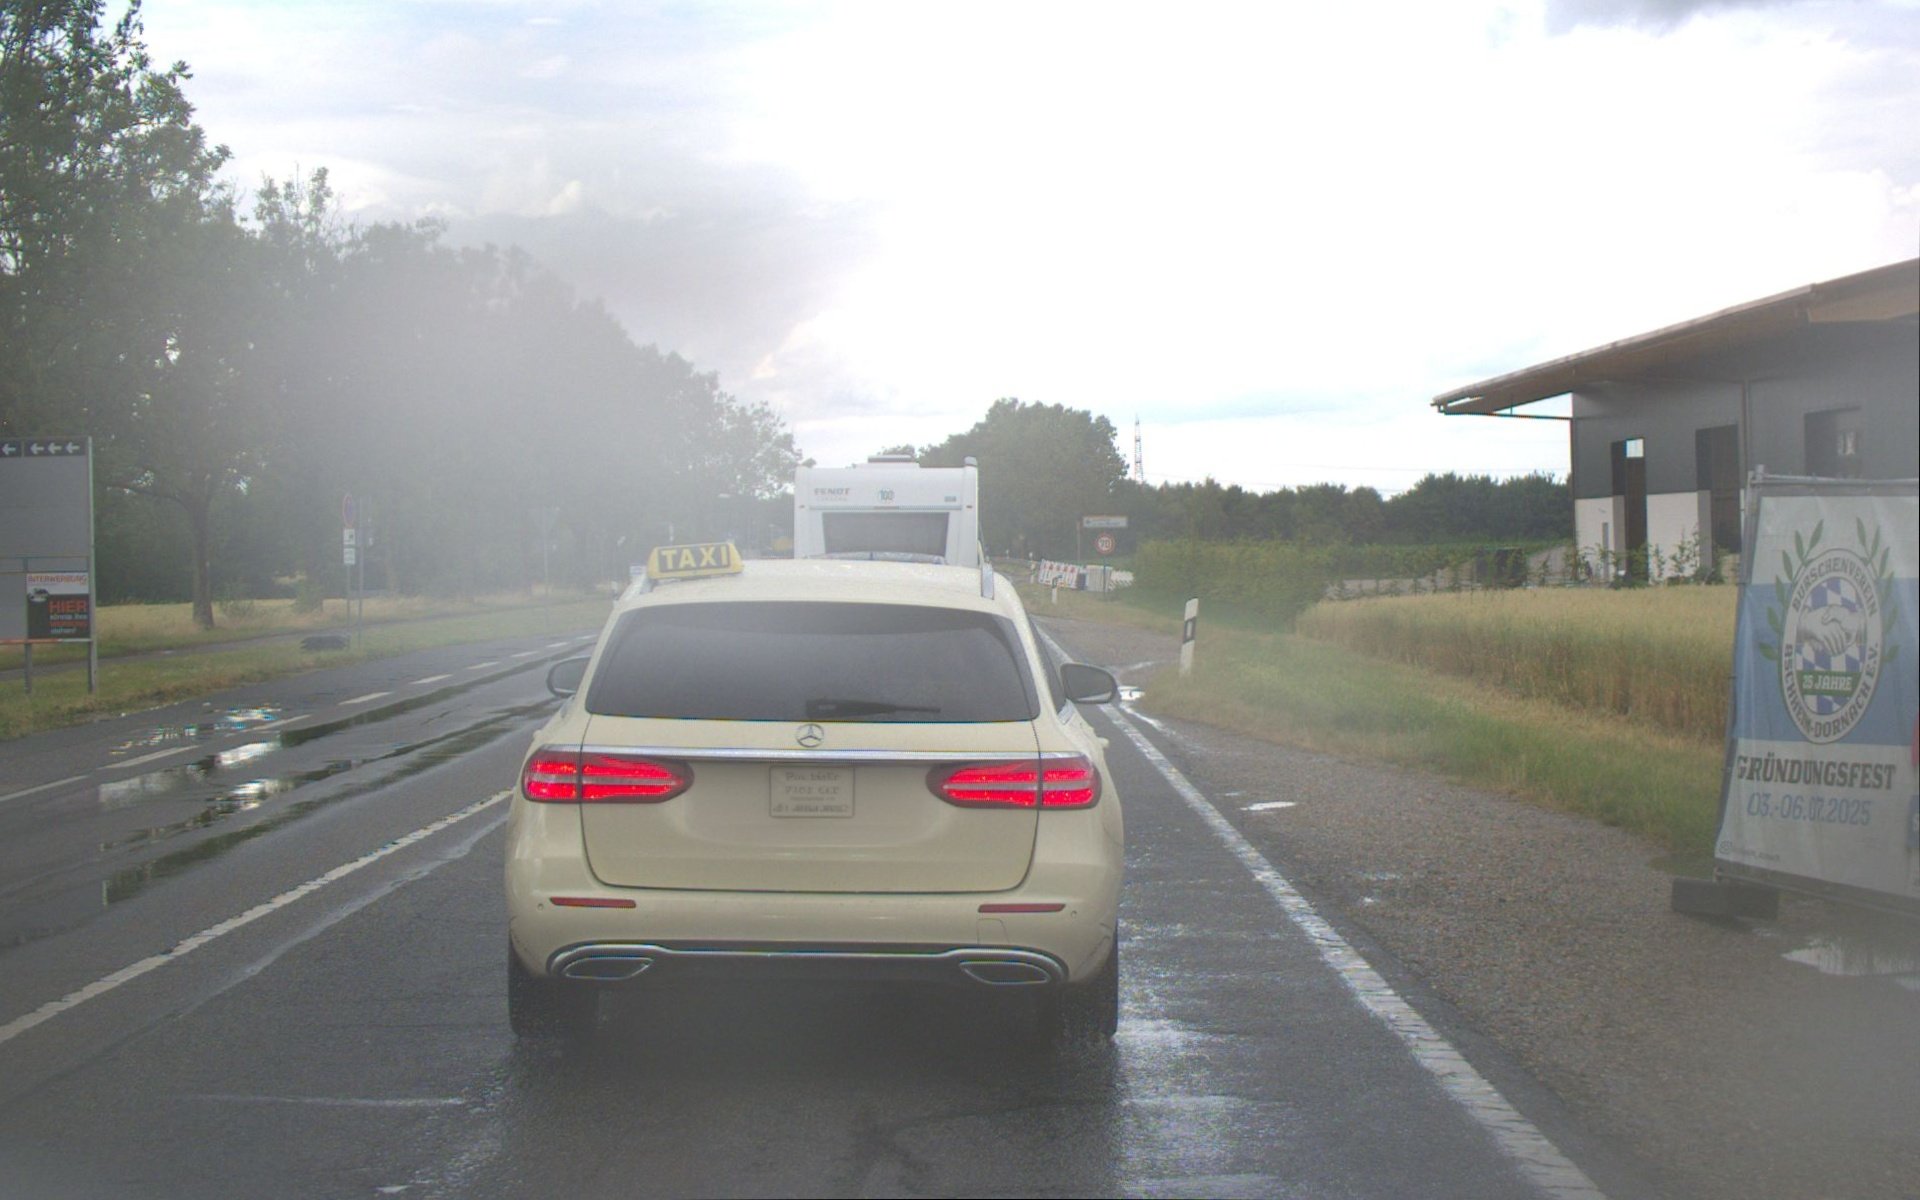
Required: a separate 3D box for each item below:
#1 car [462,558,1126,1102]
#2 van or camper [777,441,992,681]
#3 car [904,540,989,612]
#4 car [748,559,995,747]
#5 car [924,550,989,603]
[{"bbox_3d":[-0.444,0.599,11.333,1.797,1.459,4.031,0,1,0],"label":"car"},{"bbox_3d":[-0.885,-0.508,44.612,2.497,2.821,5.934,-2,1,1],"label":"van or camper"},{"bbox_3d":[-0.327,-0.569,78.976,1.894,1.585,3.928,0,1,-1],"label":"car"},{"bbox_3d":[-0.711,0.386,28.489,1.894,1.424,3.928,0,1,-1],"label":"car"},{"bbox_3d":[-0.078,-0.751,106.023,1.894,1.585,3.928,0,1,1],"label":"car"}]
